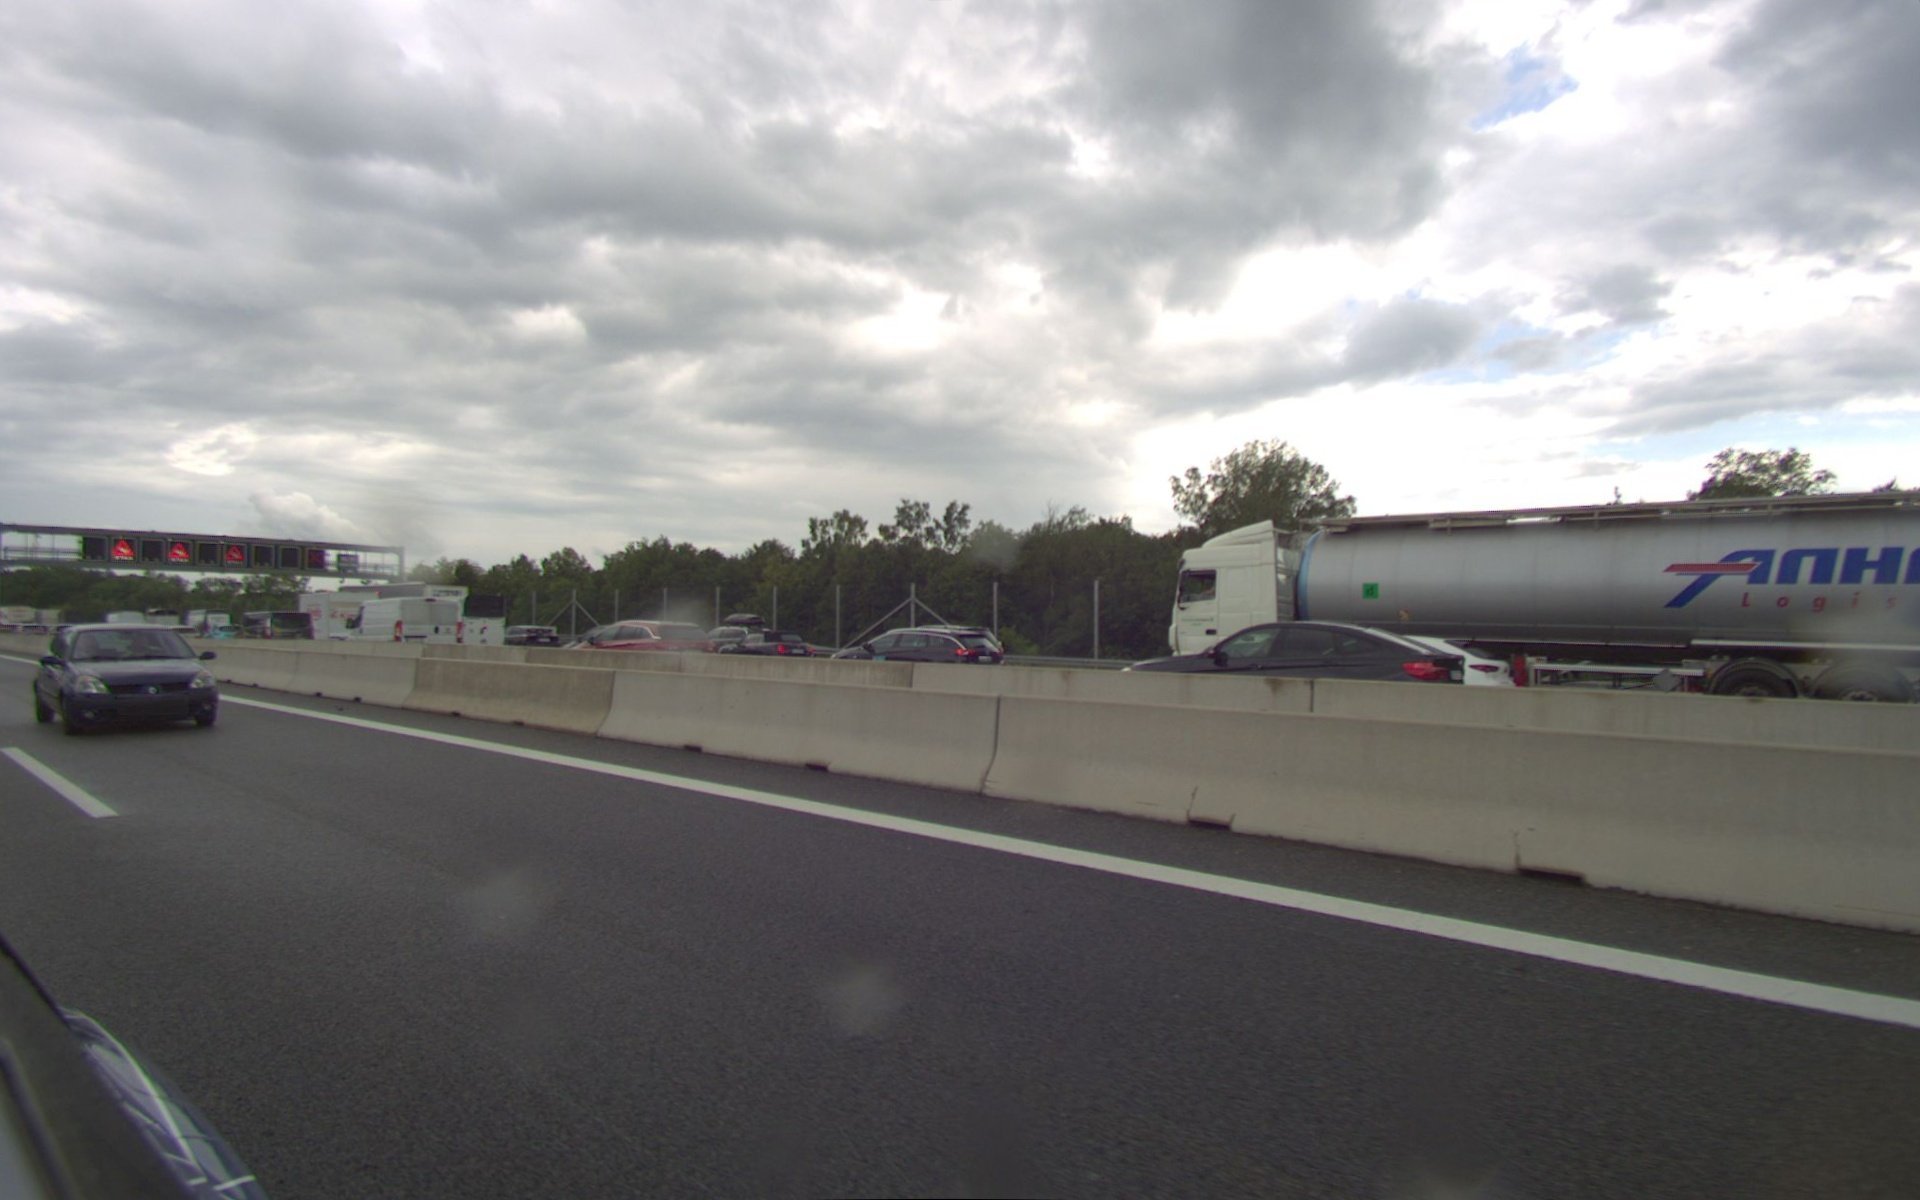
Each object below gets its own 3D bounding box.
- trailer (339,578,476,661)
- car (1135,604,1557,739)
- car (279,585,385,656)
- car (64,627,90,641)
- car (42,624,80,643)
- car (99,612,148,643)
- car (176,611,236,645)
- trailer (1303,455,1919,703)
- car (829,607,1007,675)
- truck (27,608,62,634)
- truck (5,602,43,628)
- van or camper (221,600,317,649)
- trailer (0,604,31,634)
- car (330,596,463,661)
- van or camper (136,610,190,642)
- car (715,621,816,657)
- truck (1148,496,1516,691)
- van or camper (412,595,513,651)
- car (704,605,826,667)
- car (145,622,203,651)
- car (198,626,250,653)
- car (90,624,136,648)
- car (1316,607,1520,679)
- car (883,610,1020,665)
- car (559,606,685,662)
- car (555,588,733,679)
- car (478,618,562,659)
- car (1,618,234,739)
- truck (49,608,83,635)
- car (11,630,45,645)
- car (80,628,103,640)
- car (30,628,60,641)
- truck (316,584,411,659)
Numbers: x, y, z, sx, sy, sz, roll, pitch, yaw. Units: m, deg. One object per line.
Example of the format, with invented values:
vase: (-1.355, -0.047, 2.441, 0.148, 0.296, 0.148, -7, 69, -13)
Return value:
trailer: (-35.618, 1.333, 64.845, 13.283, 4.893, 3.115, -2, -1, 40)
car: (4.951, 0.835, 13.524, 4.970, 1.495, 1.746, -1, -1, 41)
car: (-31.931, 1.061, 51.291, 7.623, 3.325, 2.472, -2, -1, 41)
car: (-100.272, 3.877, 114.957, 4.413, 1.458, 1.604, -2, -3, 40)
car: (-72.731, 2.714, 81.843, 4.390, 1.449, 1.740, -2, -1, 40)
car: (-71.646, 2.369, 86.611, 6.061, 2.507, 2.180, -2, -3, 40)
car: (-59.812, 2.172, 80.198, 7.353, 2.566, 2.248, -1, -1, 40)
trailer: (12.941, -0.238, 16.963, 13.603, 3.553, 2.682, -2, -1, 41)
car: (-1.092, 0.959, 24.811, 4.350, 1.514, 1.781, -1, -1, 41)
truck: (-142.819, 3.351, 157.796, 10.750, 3.870, 2.868, -2, -3, 41)
truck: (-162.194, 2.642, 175.228, 17.732, 4.052, 2.621, -2, -3, 40)
van or camper: (-30.292, 1.046, 44.265, 6.343, 2.029, 1.973, -1, -1, 41)
trailer: (-141.962, 2.926, 151.191, 11.947, 4.226, 3.154, -2, -3, 40)
car: (-18.641, 0.936, 33.357, 5.628, 1.984, 2.073, -2, -1, 41)
van or camper: (-72.667, 2.394, 92.217, 6.206, 2.869, 2.558, -2, -3, 39)
car: (-7.745, 1.500, 40.094, 3.998, 1.331, 1.870, -1, -1, 41)
truck: (7.708, -0.032, 21.570, 6.796, 3.540, 2.700, -2, -1, 41)
van or camper: (-20.843, 0.965, 42.306, 4.968, 2.202, 2.073, -2, -1, 41)
car: (-6.672, 1.180, 34.514, 3.998, 1.984, 2.073, -1, -1, 41)
car: (-43.305, 2.025, 55.692, 4.931, 1.504, 1.625, -2, -1, 41)
car: (-47.211, 2.504, 64.871, 4.278, 1.634, 1.783, -2, -1, 41)
car: (-56.390, 2.377, 67.345, 4.391, 1.509, 1.740, -2, -1, 41)
car: (10.788, 0.968, 23.977, 3.998, 1.542, 1.973, -1, -1, 41)
car: (-0.289, 1.067, 29.747, 3.998, 1.514, 1.576, -1, -1, 41)
car: (-10.895, 1.044, 32.468, 4.424, 1.673, 1.844, -1, -1, 41)
car: (-7.651, 0.762, 24.224, 4.803, 1.984, 1.844, -1, -1, 41)
car: (-19.793, 1.690, 45.473, 3.999, 1.721, 1.972, -1, -1, 42)
car: (-12.074, 0.993, 14.374, 5.013, 1.418, 1.758, -1, -1, 41)
truck: (-123.524, 2.975, 139.781, 7.801, 3.564, 2.438, -2, -3, 40)
car: (-87.446, 3.537, 94.934, 4.500, 1.402, 1.686, -2, -3, 39)
car: (-111.352, 4.371, 129.726, 4.000, 1.437, 1.567, -2, -3, 40)
car: (-102.803, 3.881, 113.661, 4.560, 1.350, 1.870, -2, -3, 40)
truck: (-40.893, 1.490, 69.283, 8.020, 4.893, 3.115, -2, -1, 40)
